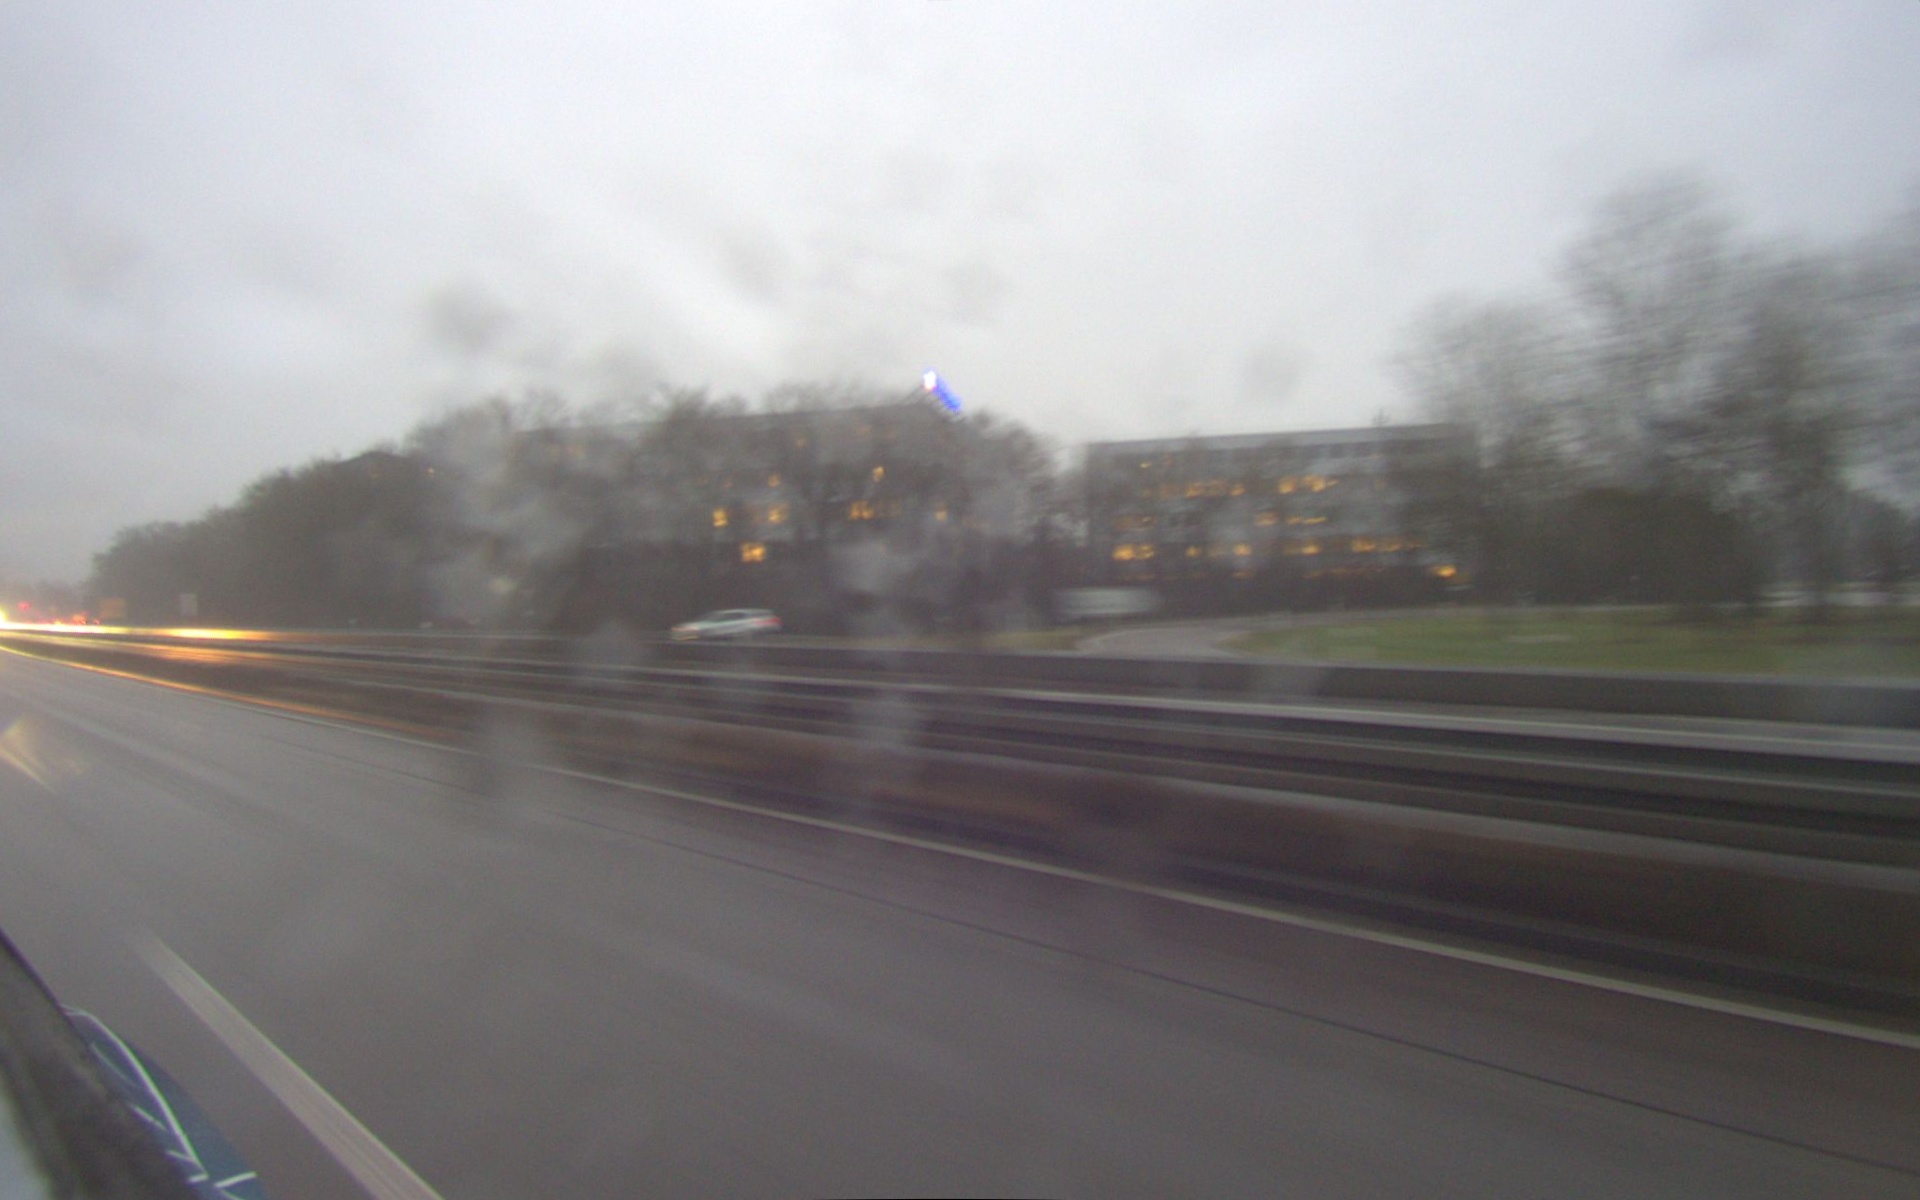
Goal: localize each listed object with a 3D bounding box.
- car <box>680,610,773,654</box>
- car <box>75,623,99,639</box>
[{"bbox_3d":[-10.519,1.415,45.668,3.934,1.697,1.857,-3,1,-12],"label":"car"},{"bbox_3d":[-103.181,3.670,119.592,4.208,1.799,1.626,-2,1,44],"label":"car"}]
